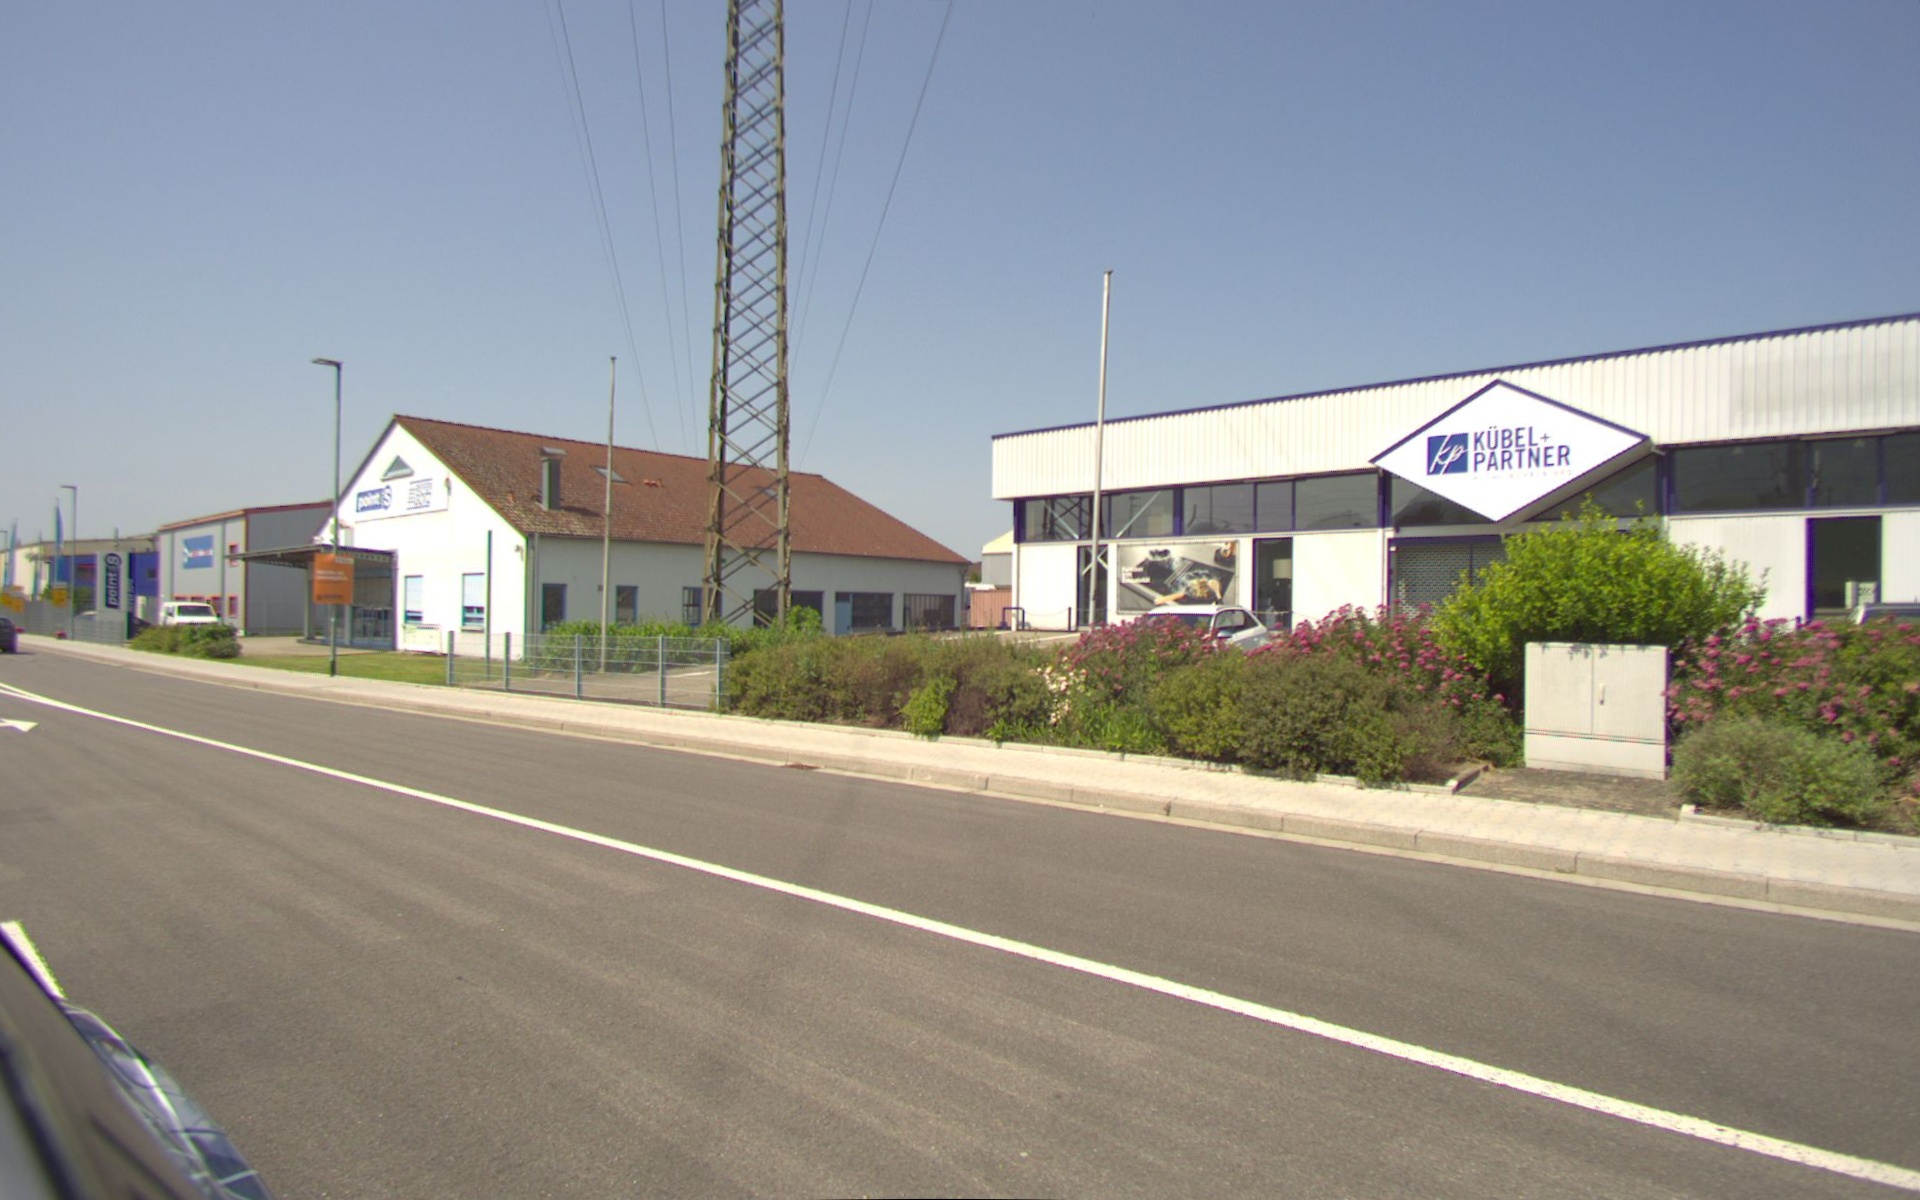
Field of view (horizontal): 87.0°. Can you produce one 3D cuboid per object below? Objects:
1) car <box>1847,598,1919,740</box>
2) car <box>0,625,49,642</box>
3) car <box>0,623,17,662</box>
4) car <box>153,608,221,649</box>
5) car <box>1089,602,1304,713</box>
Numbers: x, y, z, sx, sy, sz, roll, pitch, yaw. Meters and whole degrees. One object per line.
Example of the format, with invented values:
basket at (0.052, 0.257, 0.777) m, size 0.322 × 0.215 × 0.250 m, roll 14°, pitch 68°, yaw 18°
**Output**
car at (10.574, 0.657, 10.815) m, size 1.503 × 1.263 × 3.475 m, roll -1°, pitch 1°, yaw 39°
car at (-82.677, 2.925, 88.465) m, size 4.090 × 1.514 × 1.781 m, roll 1°, pitch -2°, yaw -24°
car at (-37.091, 1.567, 38.232) m, size 3.998 × 1.434 × 1.653 m, roll -1°, pitch -3°, yaw 41°
car at (-40.433, 1.455, 52.879) m, size 4.680 × 2.029 × 1.972 m, roll 0°, pitch -2°, yaw 42°
car at (4.004, 0.835, 16.637) m, size 1.762 × 1.467 × 4.182 m, roll -1°, pitch 1°, yaw 39°
